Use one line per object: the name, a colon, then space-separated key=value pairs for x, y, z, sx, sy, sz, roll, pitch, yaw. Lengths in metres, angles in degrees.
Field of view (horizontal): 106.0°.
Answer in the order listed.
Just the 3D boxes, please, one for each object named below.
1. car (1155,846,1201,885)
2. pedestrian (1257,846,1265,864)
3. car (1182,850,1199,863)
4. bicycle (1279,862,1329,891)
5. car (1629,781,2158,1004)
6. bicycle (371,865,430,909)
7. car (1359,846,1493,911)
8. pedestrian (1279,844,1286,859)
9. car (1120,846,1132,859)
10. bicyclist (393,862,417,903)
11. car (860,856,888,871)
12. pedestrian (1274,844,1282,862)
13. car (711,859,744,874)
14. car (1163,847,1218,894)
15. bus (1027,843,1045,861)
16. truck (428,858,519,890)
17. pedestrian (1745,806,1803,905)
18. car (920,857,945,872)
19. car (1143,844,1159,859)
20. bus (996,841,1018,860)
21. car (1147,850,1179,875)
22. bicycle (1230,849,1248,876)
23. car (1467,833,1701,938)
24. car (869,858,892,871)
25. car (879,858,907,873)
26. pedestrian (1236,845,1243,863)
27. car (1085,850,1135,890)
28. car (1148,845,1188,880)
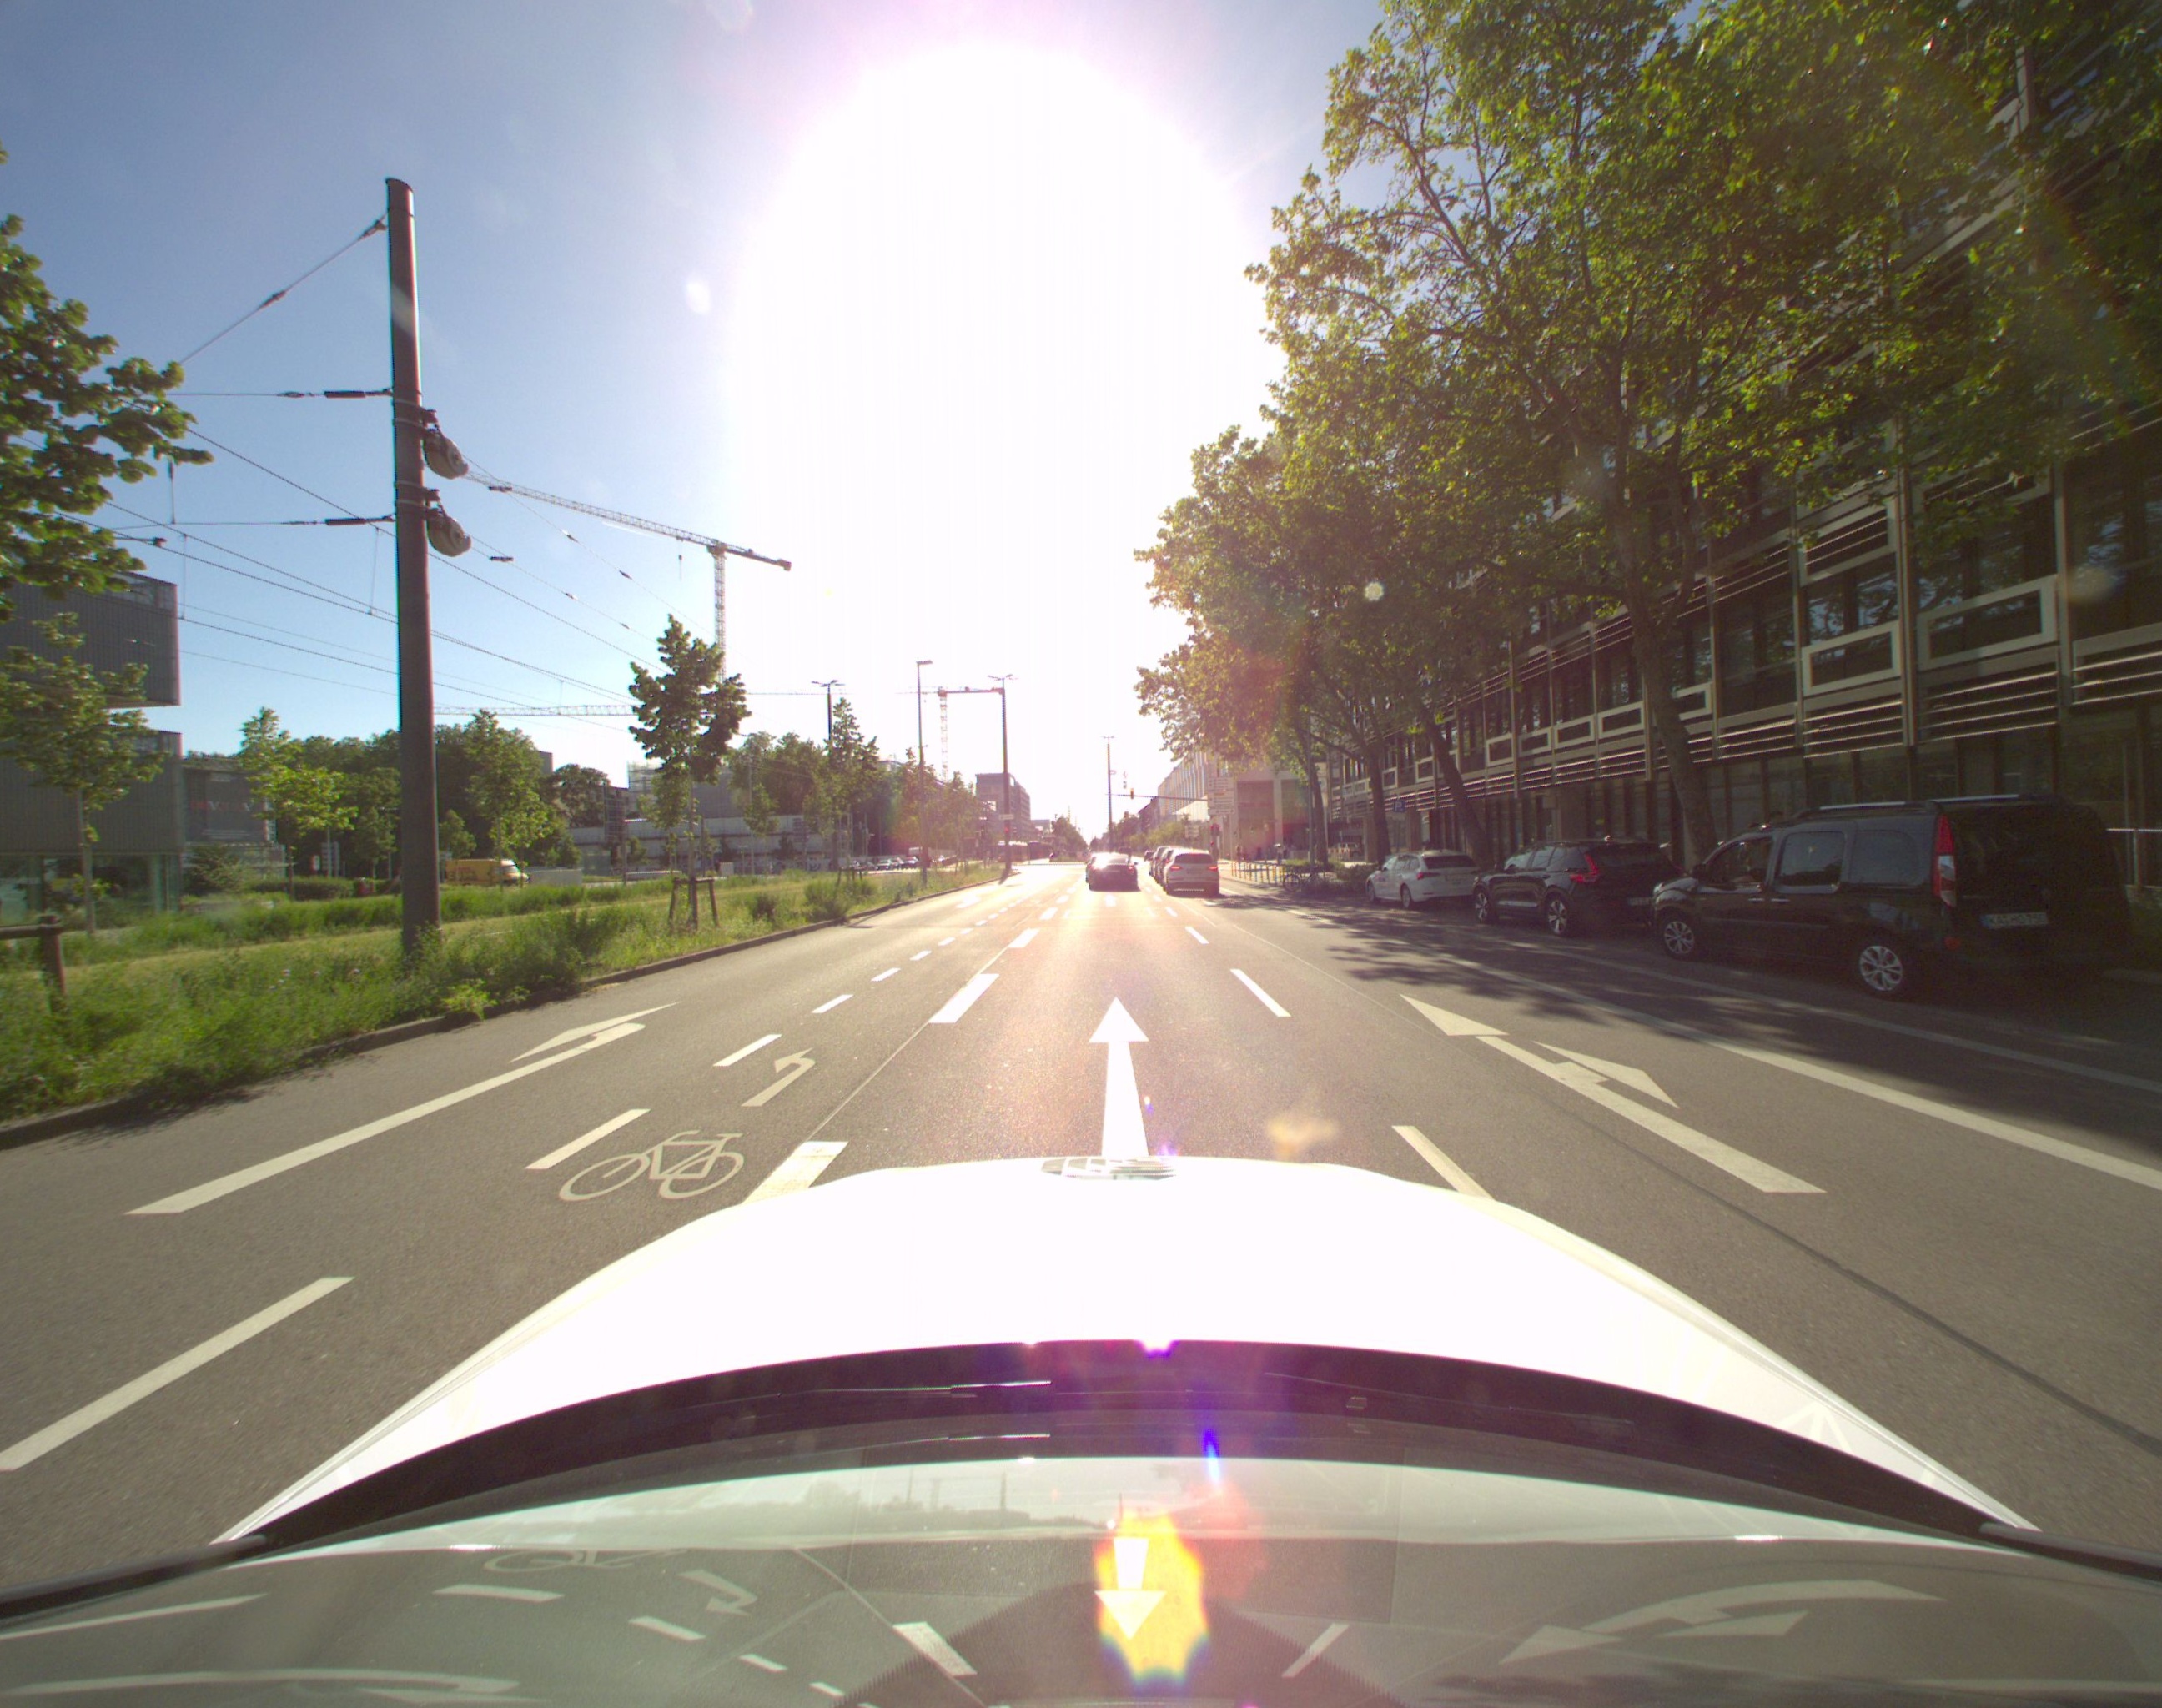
car: x=4.387 y=0.478 z=37.396 sx=1.715 sy=1.653 sz=4.188 roll=-1 pitch=0 yaw=1
pedestrian: x=14.643 y=0.065 z=66.277 sx=0.559 sy=1.440 sz=0.633 roll=0 pitch=-1 yaw=8
car: x=13.870 y=0.313 z=103.141 sx=1.657 sy=1.649 sz=3.700 roll=0 pitch=-1 yaw=0
bicycle: x=8.168 y=0.814 z=29.832 sx=1.689 sy=0.957 sz=0.478 roll=-3 pitch=0 yaw=-3
car: x=8.328 y=0.313 z=9.029 sx=1.697 sy=1.790 sz=4.194 roll=-4 pitch=0 yaw=2
bicycle: x=-23.896 y=1.135 z=28.625 sx=0.359 sy=1.455 sz=1.915 roll=-1 pitch=0 yaw=2
car: x=8.924 y=0.567 z=21.520 sx=1.697 sy=1.492 sz=4.603 roll=-1 pitch=0 yaw=2
pedestrian: x=18.671 y=-0.221 z=75.606 sx=0.559 sy=1.440 sz=0.633 roll=0 pitch=-1 yaw=8
car: x=7.504 y=-0.263 z=136.476 sx=1.986 sy=2.014 sz=4.002 roll=0 pitch=-1 yaw=2
bicyclist: x=-23.887 y=1.001 z=28.772 sx=0.393 sy=1.454 sz=0.539 roll=0 pitch=0 yaw=1
car: x=-16.691 y=0.729 z=65.814 sx=1.371 sy=1.178 sz=3.221 roll=0 pitch=-1 yaw=1
pedestrian: x=16.375 y=-0.064 z=67.611 sx=0.559 sy=1.440 sz=0.633 roll=0 pitch=-1 yaw=8
car: x=-37.969 y=1.305 z=87.579 sx=1.704 sy=1.556 sz=4.002 roll=0 pitch=-1 yaw=2
car: x=4.014 y=0.552 z=30.441 sx=1.714 sy=1.618 sz=4.190 roll=-1 pitch=0 yaw=3
bus: x=-7.771 y=-0.275 z=142.262 sx=2.620 sy=2.959 sz=9.895 roll=0 pitch=-1 yaw=-1
truck: x=-56.760 y=1.842 z=76.216 sx=6.940 sy=2.963 sz=2.000 roll=0 pitch=-1 yaw=0
pedestrian: x=13.693 y=0.027 z=16.105 sx=0.674 sy=1.916 sz=0.557 roll=0 pitch=-1 yaw=2
car: x=-11.867 y=0.805 z=65.264 sx=1.371 sy=1.178 sz=3.221 roll=0 pitch=-1 yaw=1
car: x=9.745 y=-0.371 z=113.849 sx=1.986 sy=2.014 sz=4.002 roll=0 pitch=-1 yaw=2
bus: x=-11.343 y=-0.547 z=125.499 sx=2.620 sy=2.783 sz=8.841 roll=0 pitch=-1 yaw=-1
car: x=5.071 y=0.523 z=50.654 sx=1.715 sy=1.431 sz=4.189 roll=-1 pitch=0 yaw=2
bicycle: x=8.672 y=0.457 z=44.762 sx=0.560 sy=1.440 sz=2.577 roll=0 pitch=-1 yaw=1
car: x=8.706 y=0.481 z=14.590 sx=1.697 sy=1.563 sz=4.194 roll=-1 pitch=0 yaw=2
car: x=-26.025 y=1.356 z=105.735 sx=1.830 sy=1.612 sz=3.896 roll=0 pitch=-1 yaw=1
car: x=-14.769 y=0.900 z=64.236 sx=1.371 sy=1.178 sz=3.221 roll=0 pitch=-1 yaw=1
pedestrian: x=12.886 y=0.013 z=66.156 sx=0.559 sy=1.440 sz=0.633 roll=0 pitch=-1 yaw=8
car: x=1.177 y=0.622 z=34.034 sx=1.905 sy=1.486 sz=4.010 roll=-2 pitch=0 yaw=1
car: x=4.622 y=0.415 z=43.848 sx=1.716 sy=1.782 sz=4.186 roll=-1 pitch=0 yaw=0
